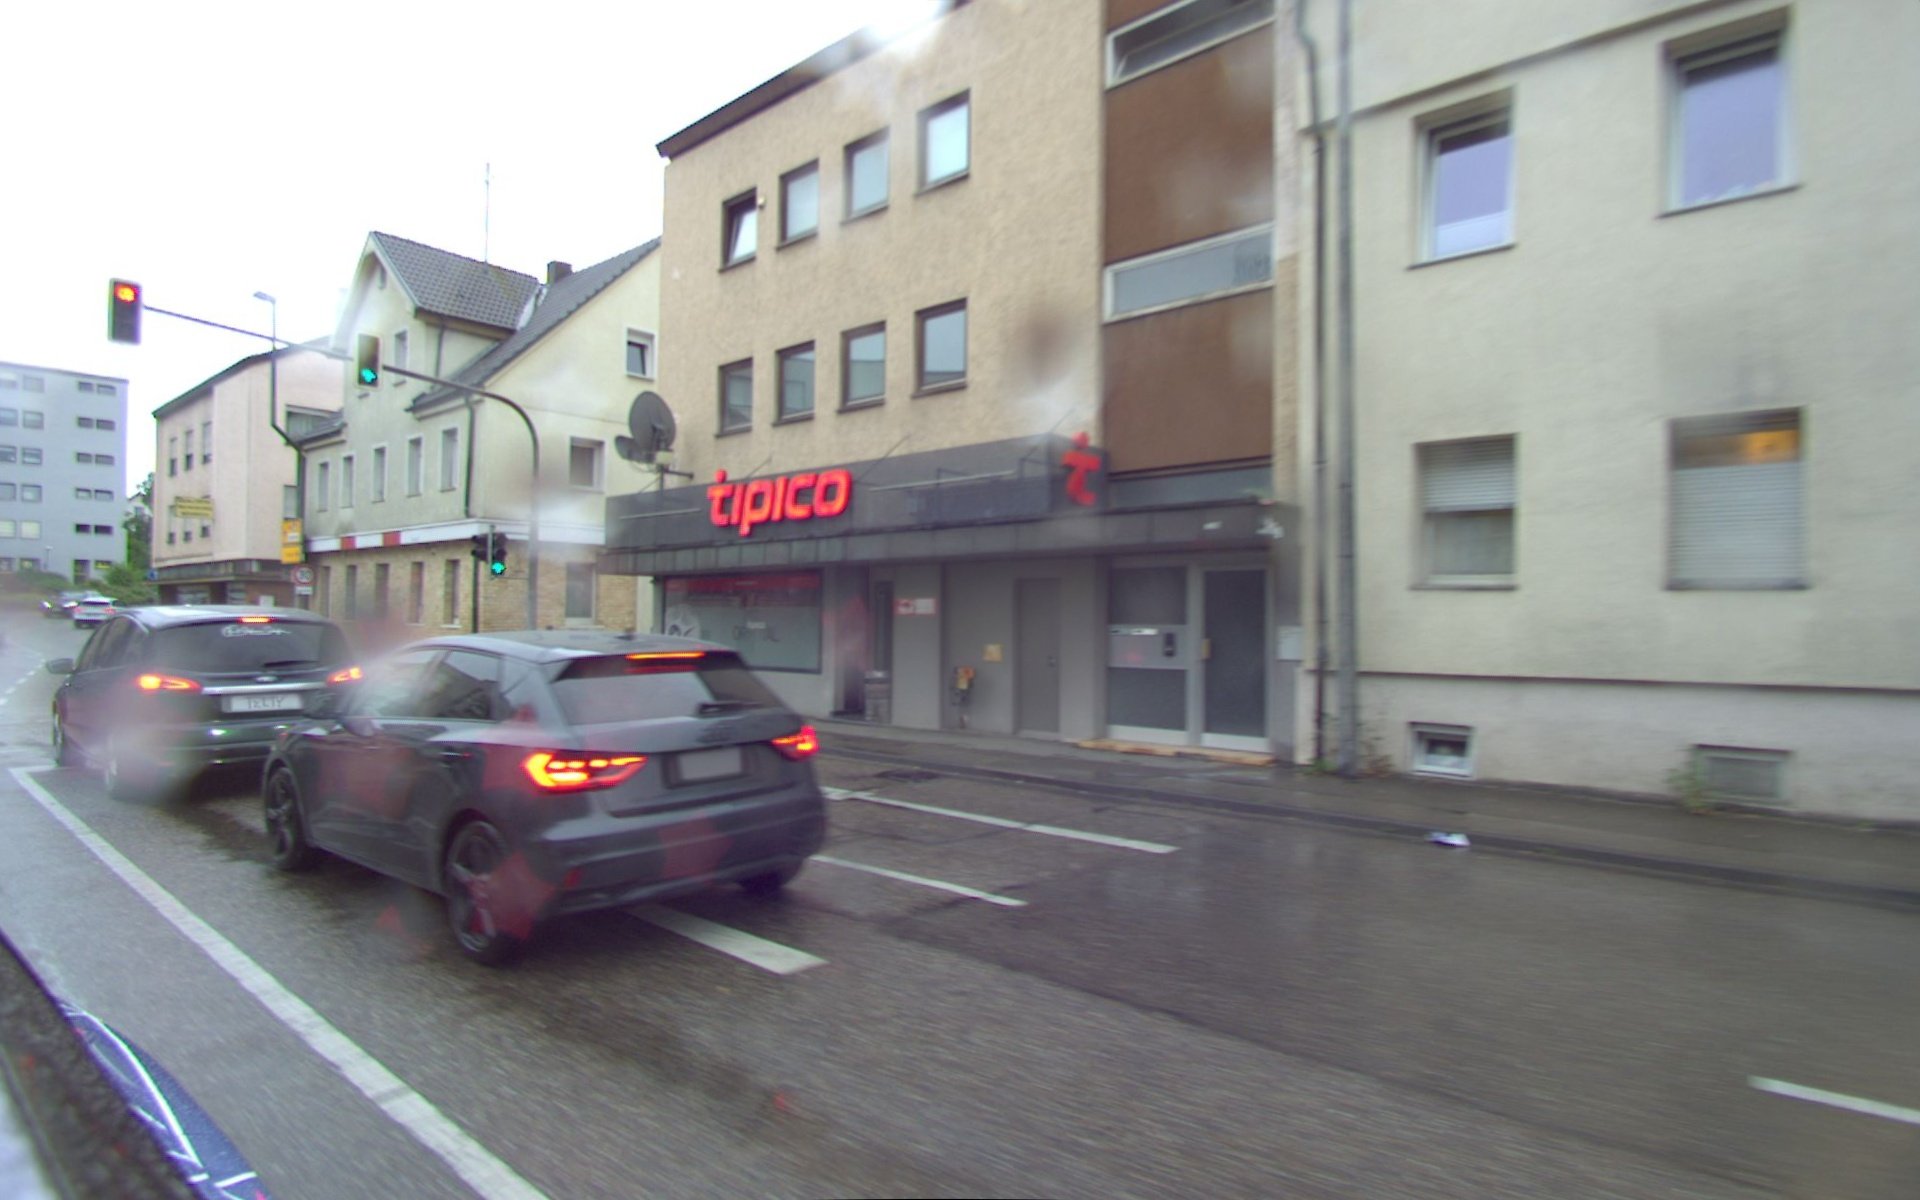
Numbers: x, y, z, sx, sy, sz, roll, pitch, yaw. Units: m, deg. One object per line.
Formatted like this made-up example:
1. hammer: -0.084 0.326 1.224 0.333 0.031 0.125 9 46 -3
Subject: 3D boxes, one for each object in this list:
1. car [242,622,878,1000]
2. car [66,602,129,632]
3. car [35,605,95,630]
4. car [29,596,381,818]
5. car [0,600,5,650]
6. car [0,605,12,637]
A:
1. car: -2.358 0.825 5.578 3.665 1.394 1.690 -1 -2 39
2. car: -47.115 0.888 55.374 1.929 1.547 4.012 0 0 -30
3. car: -54.744 1.107 61.972 1.658 1.472 4.013 1 -2 -24
4. car: -7.323 0.863 9.658 4.272 1.657 1.797 -2 -2 41
5. car: -34.386 0.887 34.943 1.970 1.674 4.003 0 -1 -44
6. car: -44.275 0.937 45.385 1.659 1.432 4.012 1 -2 -30
